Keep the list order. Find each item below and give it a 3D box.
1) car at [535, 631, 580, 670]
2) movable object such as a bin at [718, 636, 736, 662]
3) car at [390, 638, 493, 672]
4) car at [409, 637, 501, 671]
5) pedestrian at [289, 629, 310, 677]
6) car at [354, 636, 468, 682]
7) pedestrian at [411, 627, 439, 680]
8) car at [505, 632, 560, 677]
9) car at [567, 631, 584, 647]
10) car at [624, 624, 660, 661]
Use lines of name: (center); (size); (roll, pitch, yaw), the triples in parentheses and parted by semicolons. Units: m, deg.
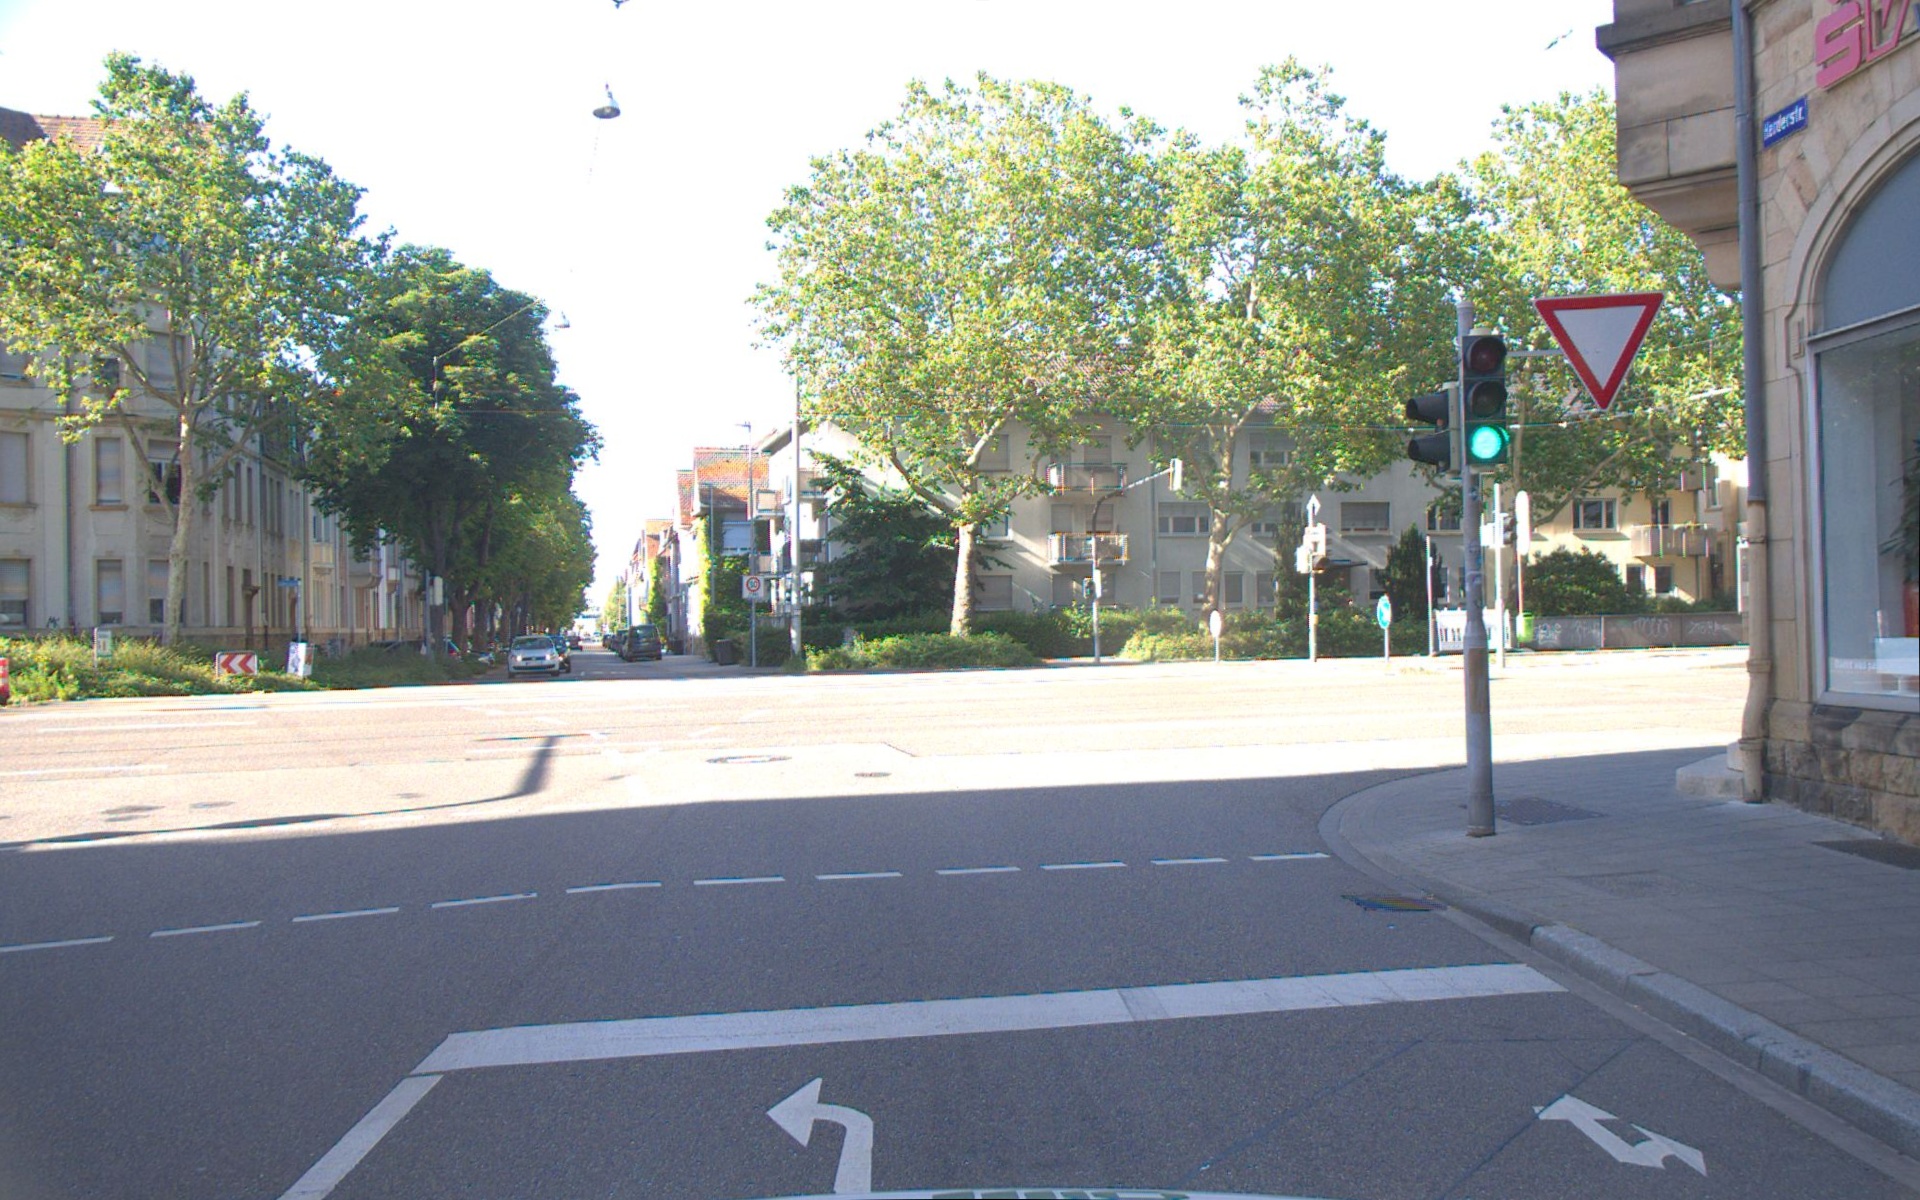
car: (-16.253, 2.027, 66.921); (1.631, 1.490, 3.796); (-1, -1, -12)
movable object such as a bin: (-9.912, 2.089, 70.283); (0.587, 1.062, 0.704); (-5, 0, -16)
car: (-22.586, 2.395, 72.182); (4.140, 1.372, 1.697); (-1, -2, -14)
car: (-23.367, 2.509, 76.646); (3.917, 1.508, 1.780); (0, -1, -12)
pedestrian: (-23.562, 1.876, 59.004); (0.451, 1.687, 0.893); (-1, -1, -5)
car: (-20.213, 2.170, 61.018); (3.816, 1.501, 1.609); (-2, -1, -14)
pedestrian: (-17.404, 1.730, 53.834); (0.680, 1.711, 0.680); (-1, -1, -3)
car: (-15.123, 1.945, 58.654); (1.775, 1.484, 3.985); (-1, -2, -14)
car: (-38.508, 3.907, 165.636); (1.613, 1.535, 3.689); (-2, -1, -13)
car: (-17.822, 2.352, 92.529); (1.832, 1.950, 4.766); (2, -2, -13)
